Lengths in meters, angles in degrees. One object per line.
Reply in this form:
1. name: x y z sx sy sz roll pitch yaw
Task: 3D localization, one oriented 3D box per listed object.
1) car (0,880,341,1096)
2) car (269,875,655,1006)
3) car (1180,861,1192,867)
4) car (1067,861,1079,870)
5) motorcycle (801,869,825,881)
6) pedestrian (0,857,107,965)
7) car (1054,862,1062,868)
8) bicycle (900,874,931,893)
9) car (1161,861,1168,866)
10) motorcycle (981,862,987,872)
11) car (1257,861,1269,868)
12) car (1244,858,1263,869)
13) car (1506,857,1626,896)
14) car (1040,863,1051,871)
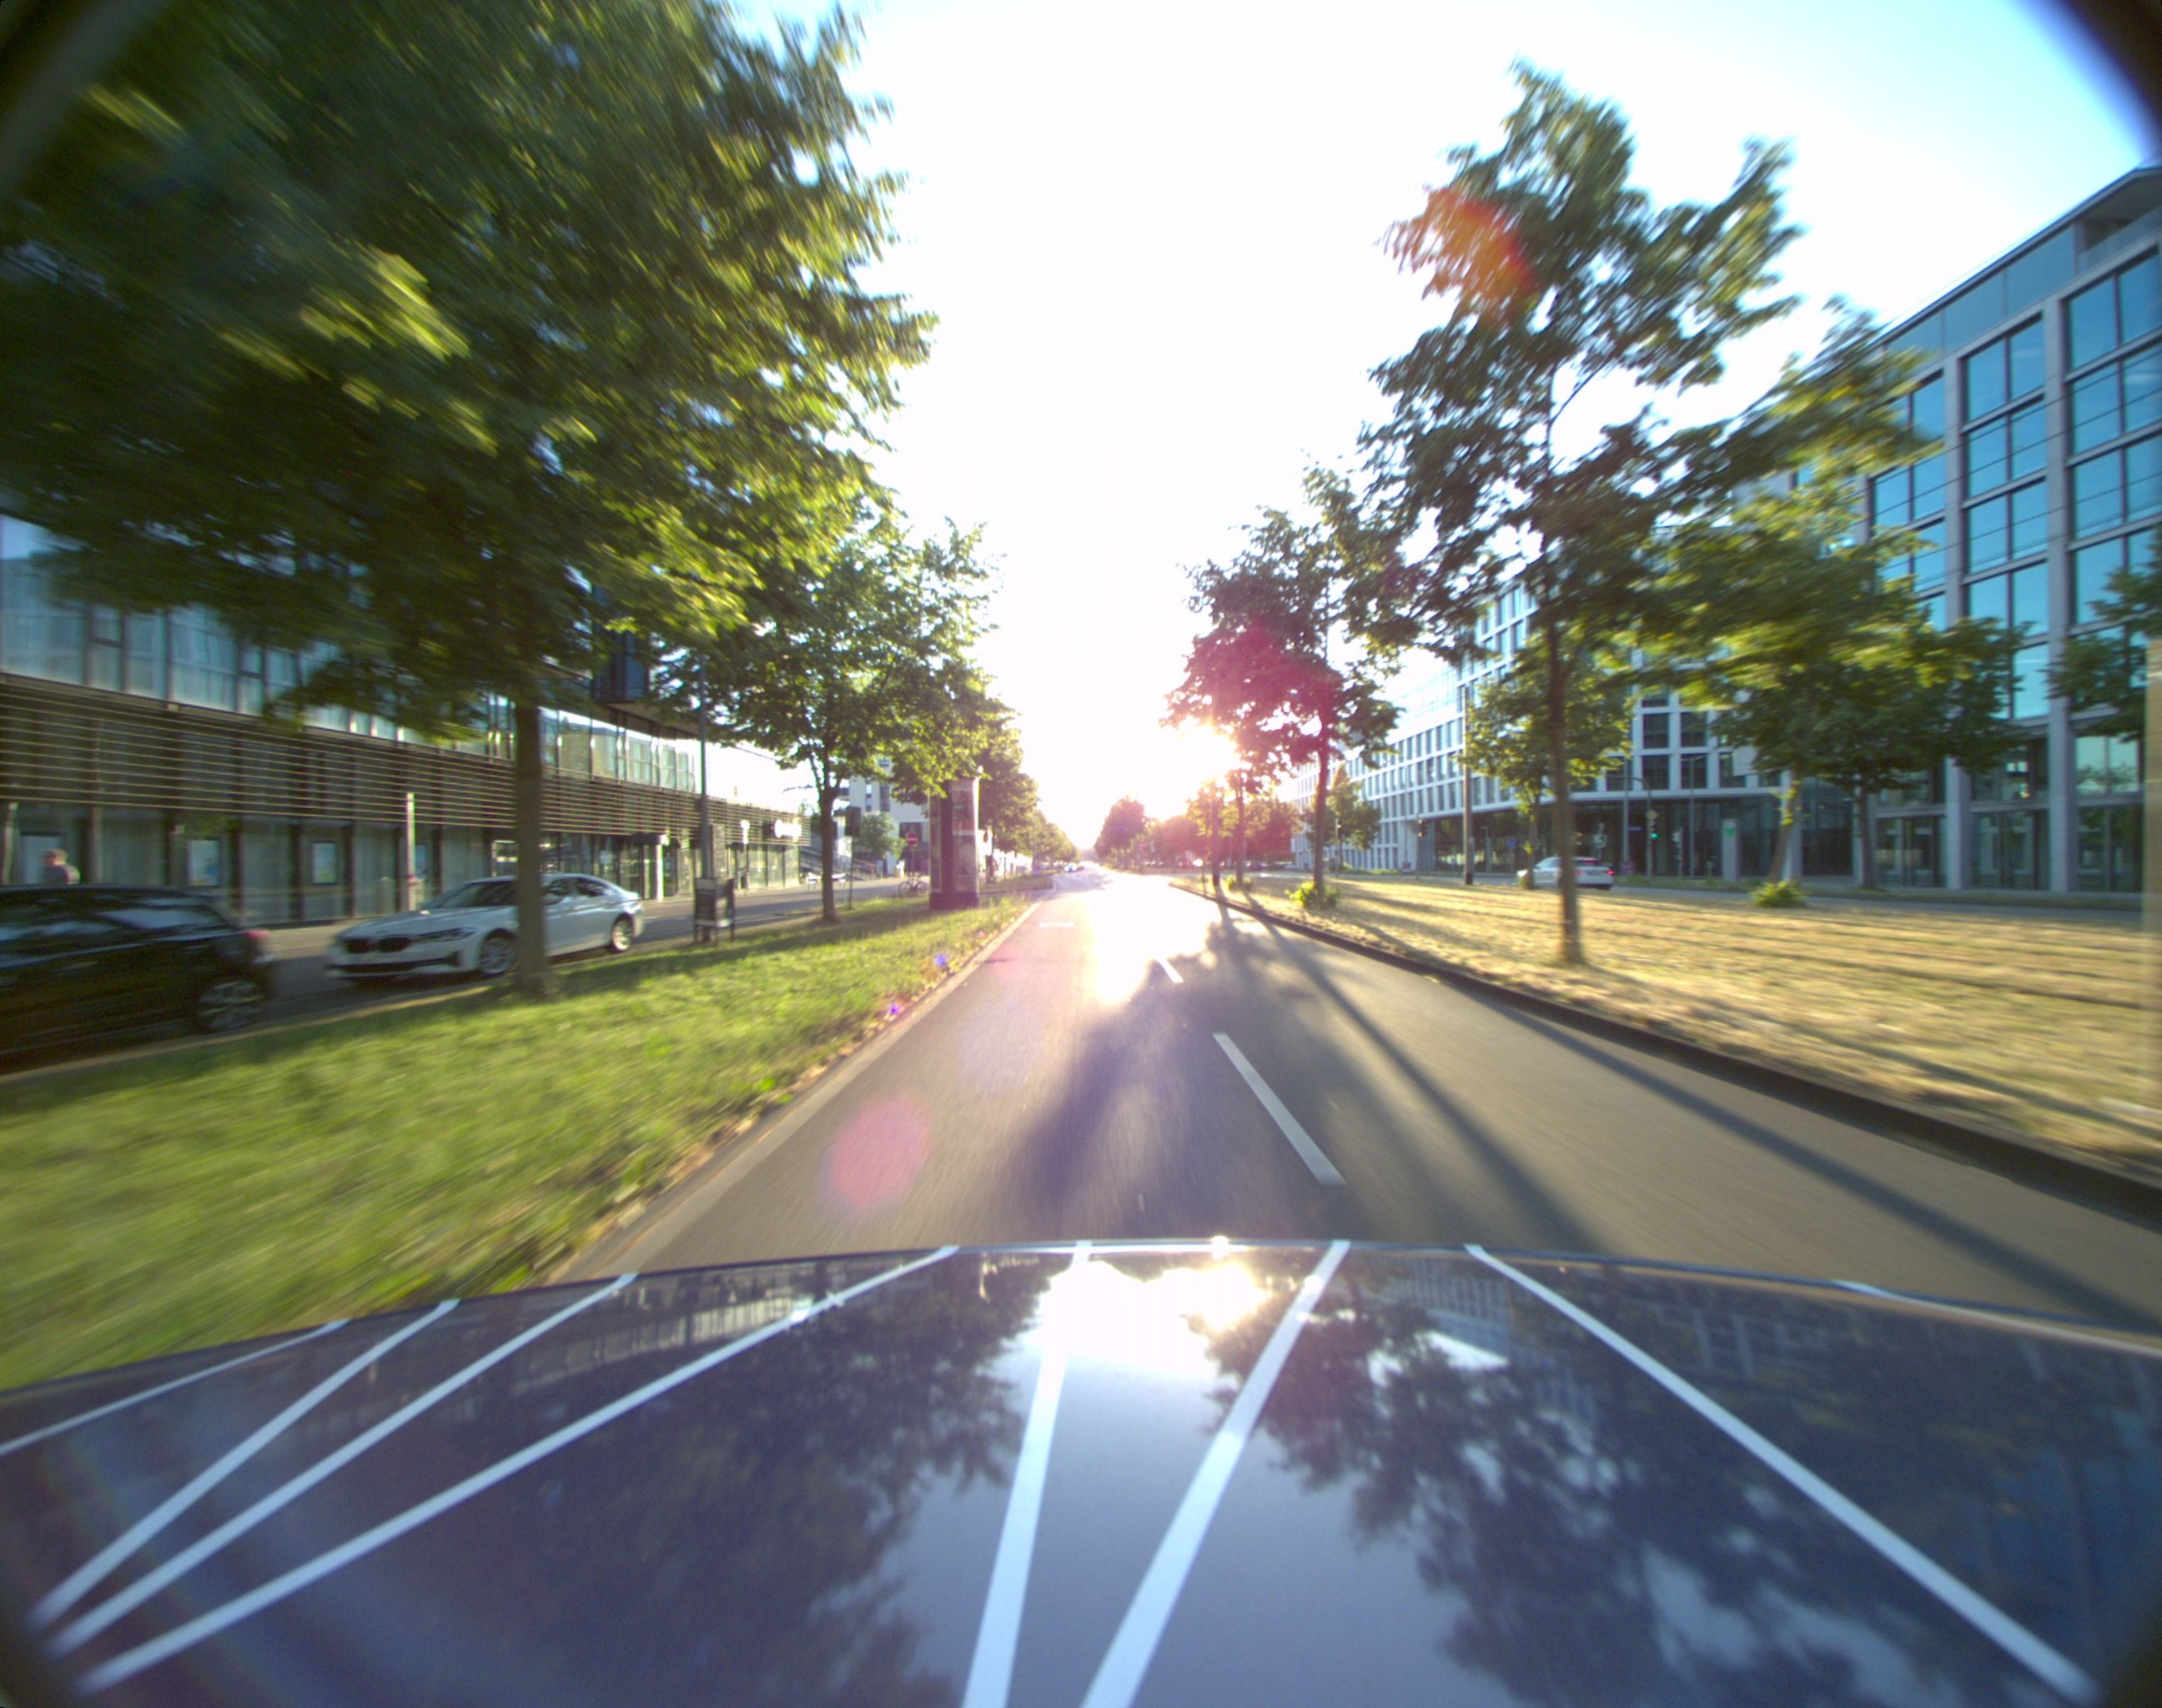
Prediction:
1. car: -8.780 1.053 5.841 1.864 1.488 4.290 -3 0 1
2. car: -9.019 1.129 11.863 1.922 1.487 5.041 -2 -1 -1
3. car: 23.460 2.228 169.395 1.998 1.426 4.899 -1 0 0
4. car: -1.316 1.857 125.052 1.998 1.473 4.335 -1 -1 0
5. motorcycle: -24.558 1.925 69.715 0.732 1.037 2.694 -1 -1 11
6. pedestrian: -17.817 0.950 13.083 0.899 1.786 0.912 -1 0 -1
7. car: -6.241 2.953 203.045 1.998 1.594 4.000 -1 -1 0
8. bicycle: -8.061 1.449 36.971 1.719 0.905 0.363 -1 0 34
9. car: 22.879 2.668 208.277 1.649 1.394 4.000 -1 -1 -1
10. motorcycle: -16.976 2.308 132.844 0.690 1.689 2.124 -1 -1 0
11. car: 40.583 2.363 169.500 1.997 1.583 4.338 -1 -1 7
12. car: 23.623 1.280 104.350 1.645 1.440 4.000 -1 -1 0
13. car: 19.801 0.860 31.312 1.907 1.477 4.631 -1 0 -1
14. car: -7.017 2.638 152.136 1.998 1.594 4.000 -1 -1 0
